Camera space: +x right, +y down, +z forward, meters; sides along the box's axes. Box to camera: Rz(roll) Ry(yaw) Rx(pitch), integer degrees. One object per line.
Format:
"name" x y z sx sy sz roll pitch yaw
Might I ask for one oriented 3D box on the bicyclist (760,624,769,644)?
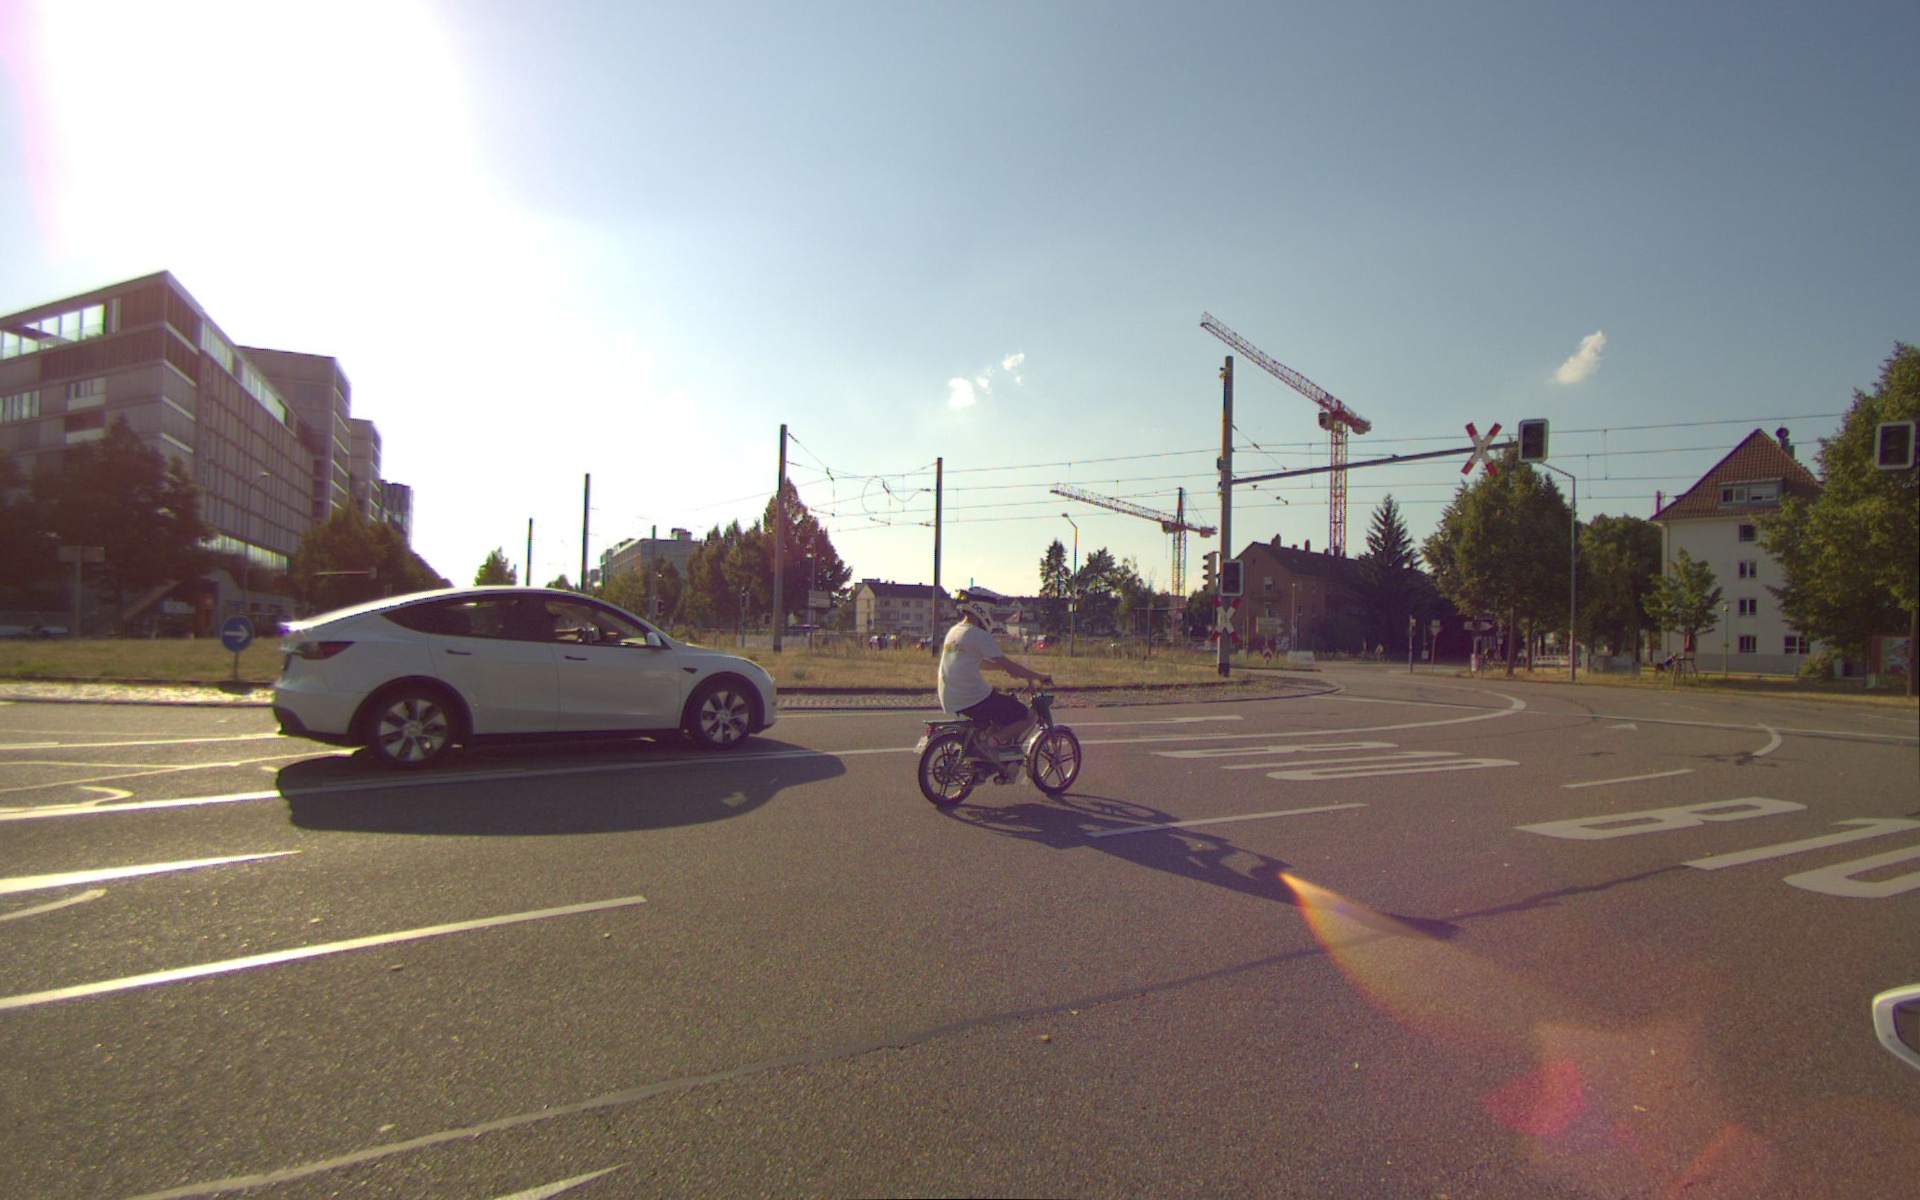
"bicyclist" -16.211 2.806 83.122 0.596 1.694 0.478 1 -2 1

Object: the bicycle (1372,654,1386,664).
"bicycle" 41.804 5.894 100.272 0.590 0.976 2.093 -1 -3 43

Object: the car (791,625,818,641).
"car" -20.384 4.314 131.840 1.980 2.040 3.961 2 -2 -35

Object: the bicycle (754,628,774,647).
"bicycle" -16.210 3.098 83.119 1.514 1.493 0.480 1 -2 0

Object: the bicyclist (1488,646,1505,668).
"bicyclist" 35.989 3.816 67.352 0.882 1.414 0.526 1 -2 16

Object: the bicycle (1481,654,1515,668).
"bicycle" 36.034 4.083 67.271 1.953 0.836 0.430 1 -2 15

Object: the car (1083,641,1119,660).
"car" 15.956 5.715 113.917 3.763 2.040 1.665 -1 -3 40

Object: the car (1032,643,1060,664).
"car" 8.534 5.270 99.418 1.890 1.878 3.995 1 -2 -8

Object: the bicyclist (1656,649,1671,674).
"bicyclist" 43.166 3.758 61.636 0.611 1.531 0.419 1 -2 16

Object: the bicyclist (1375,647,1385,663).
"bicyclist" 41.961 5.507 100.408 0.651 1.582 0.889 -1 -3 43

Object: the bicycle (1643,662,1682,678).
"bicycle" 43.100 4.290 61.633 1.953 0.930 0.430 1 -2 15

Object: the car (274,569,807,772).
"car" -4.031 0.679 10.079 4.632 1.620 1.723 4 -2 -36

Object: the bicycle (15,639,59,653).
"bicycle" -51.078 2.537 55.585 0.471 0.754 1.721 0 -2 22

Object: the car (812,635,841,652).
"car" -16.596 5.436 124.940 1.980 2.040 3.961 2 -2 -35

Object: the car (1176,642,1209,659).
"car" 29.150 6.284 126.029 3.763 2.040 1.665 -1 -3 40

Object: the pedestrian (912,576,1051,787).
"pedestrian" 0.169 0.615 7.851 0.845 1.539 0.652 2 -2 -34

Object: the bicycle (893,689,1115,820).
"bicycle" 0.387 1.179 7.965 1.837 0.887 0.474 3 -2 -35

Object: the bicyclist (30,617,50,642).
"bicyclist" -51.038 1.646 55.730 0.509 1.343 0.654 0 -2 23
